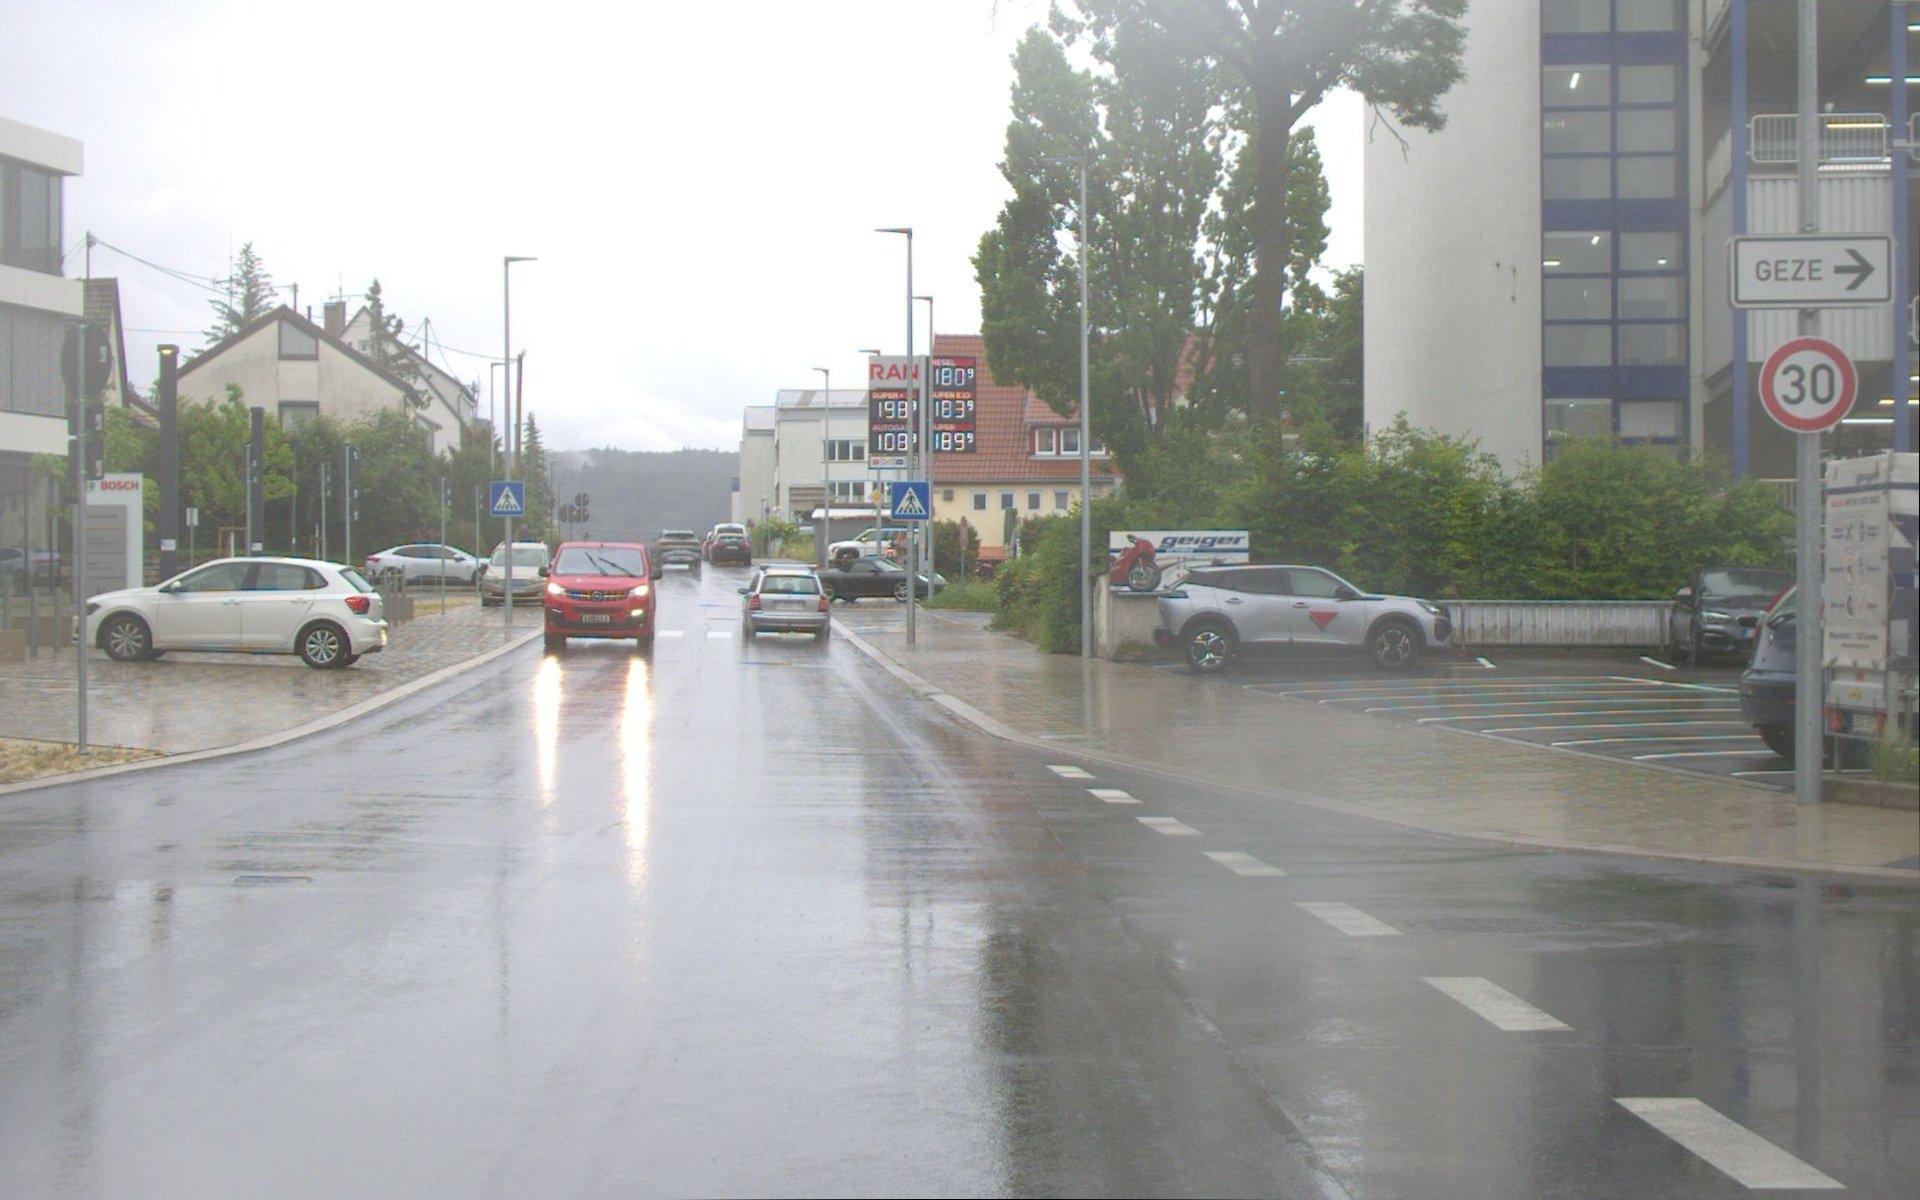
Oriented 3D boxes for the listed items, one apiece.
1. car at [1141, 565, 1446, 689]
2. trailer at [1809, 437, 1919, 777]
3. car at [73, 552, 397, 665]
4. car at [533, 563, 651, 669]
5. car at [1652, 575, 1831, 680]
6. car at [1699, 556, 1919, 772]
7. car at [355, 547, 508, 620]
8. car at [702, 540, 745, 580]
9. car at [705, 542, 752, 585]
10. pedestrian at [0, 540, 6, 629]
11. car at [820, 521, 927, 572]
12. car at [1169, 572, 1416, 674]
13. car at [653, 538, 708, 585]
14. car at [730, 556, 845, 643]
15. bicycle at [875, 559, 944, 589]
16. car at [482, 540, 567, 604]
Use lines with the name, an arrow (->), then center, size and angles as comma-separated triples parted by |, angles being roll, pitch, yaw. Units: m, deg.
car -> 4.755, 0.375, 49.010 | 4.208, 1.644, 2.000 | -1, 0, 6
trailer -> 7.180, 0.053, 22.715 | 2.701, 2.164, 1.548 | 1, 0, -2
car -> -9.501, 0.105, 45.286 | 3.927, 1.418, 1.898 | 1, 0, -3
car -> -6.623, 0.256, 62.226 | 2.002, 1.811, 4.980 | 1, 0, -5
car -> 11.305, 0.368, 49.972 | 1.933, 1.437, 4.206 | 1, 0, 4
car -> 7.519, 0.446, 25.340 | 3.725, 1.524, 1.650 | -1, -1, -4
car -> -17.261, -0.536, 112.518 | 4.752, 2.007, 2.000 | 4, -1, -7
car -> -11.640, -1.976, 169.007 | 1.993, 1.700, 4.000 | 4, -1, -4
car -> -10.504, -1.646, 155.901 | 1.993, 1.700, 4.000 | 4, -1, -4
pedestrian -> -19.107, -0.314, 66.704 | 1.013, 1.718, 0.772 | 1, 1, -6
car -> -3.534, -2.178, 140.535 | 4.111, 1.700, 1.789 | 4, -1, -7
car -> 5.000, 0.333, 51.801 | 3.621, 1.489, 1.806 | 0, 0, 5
car -> -11.743, -1.607, 144.393 | 2.154, 1.700, 4.000 | 4, -1, -4
car -> -3.503, 0.012, 69.139 | 1.948, 1.550, 4.001 | 4, -1, -7
bicycle -> -1.993, -1.010, 134.001 | 0.668, 1.063, 3.628 | 5, -2, -35
car -> -11.386, -0.745, 90.112 | 1.993, 1.623, 4.154 | 0, 1, -4
